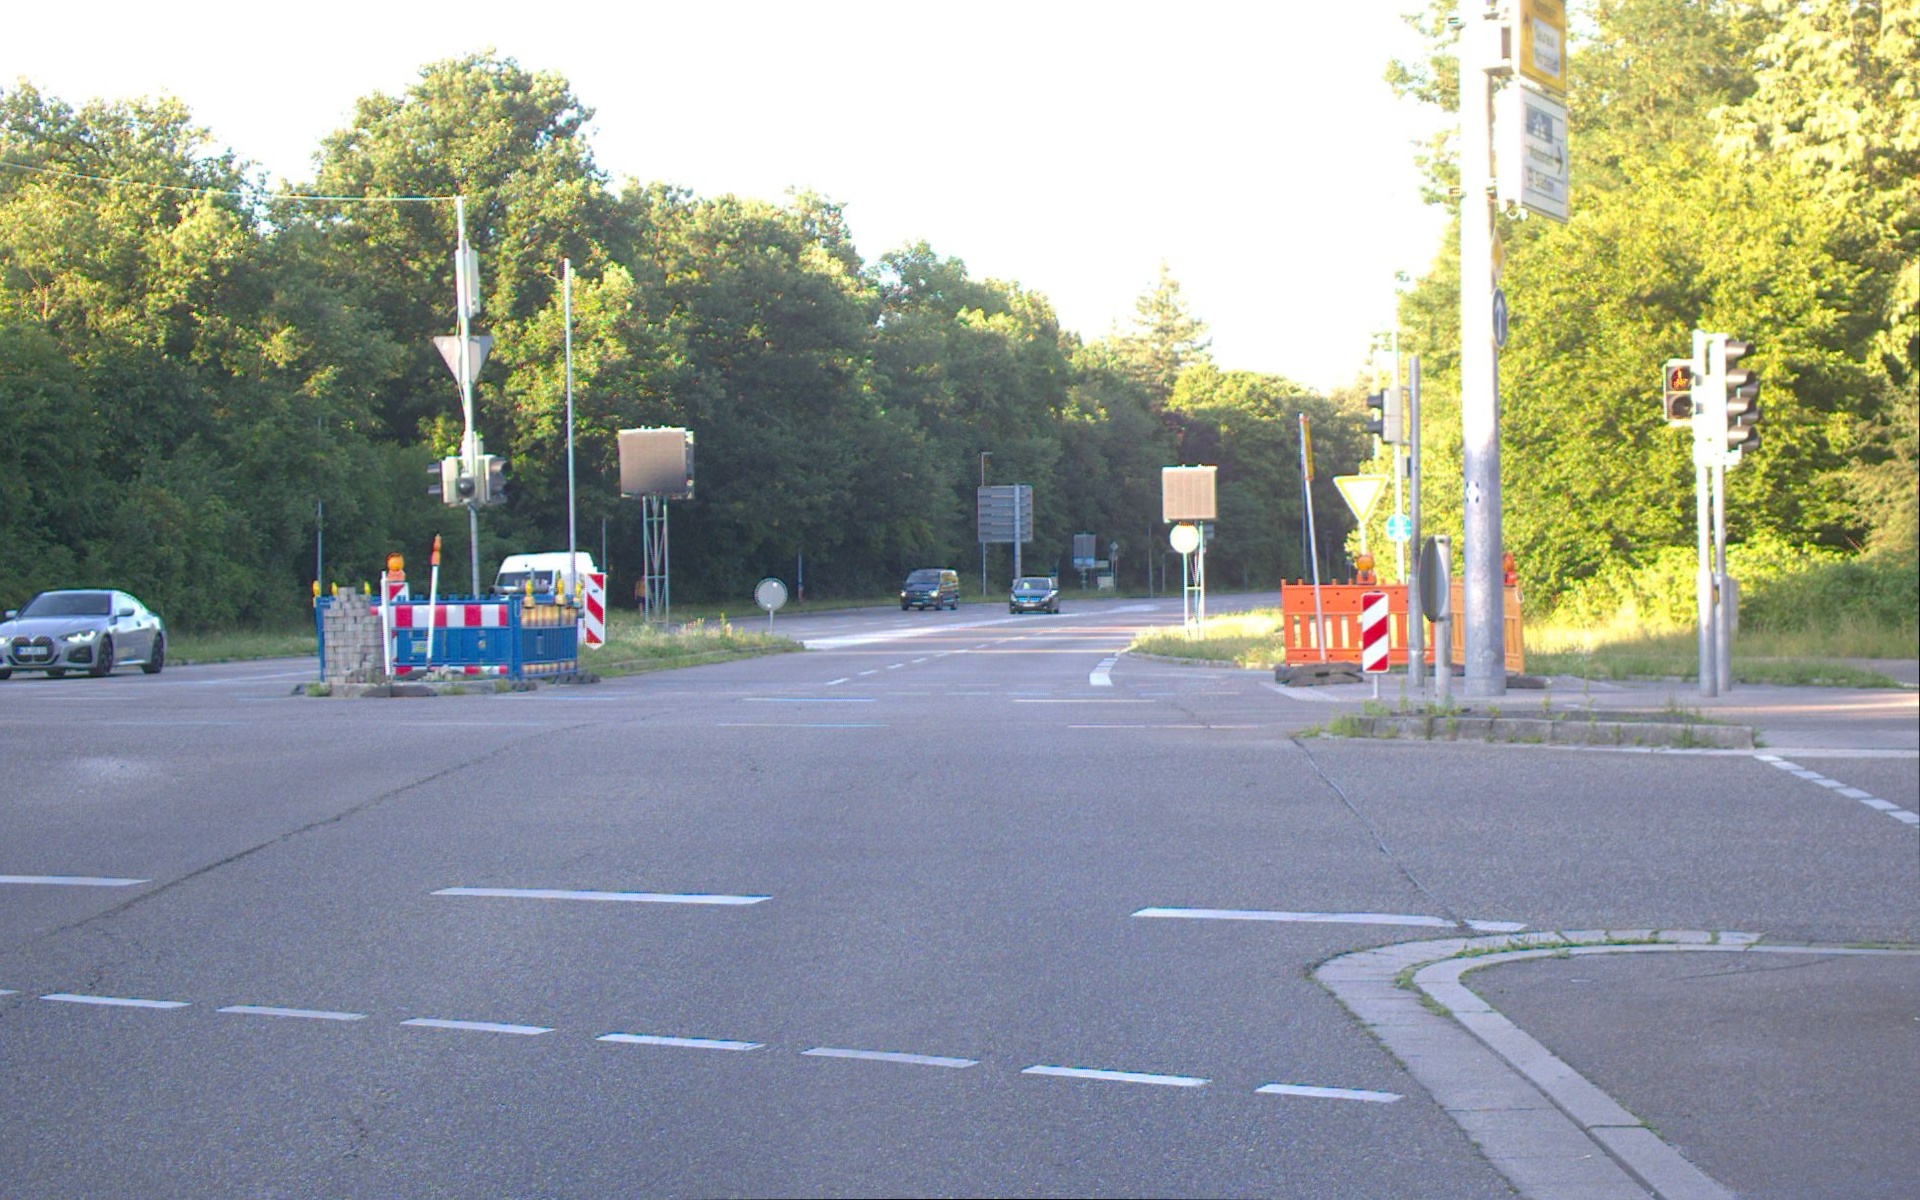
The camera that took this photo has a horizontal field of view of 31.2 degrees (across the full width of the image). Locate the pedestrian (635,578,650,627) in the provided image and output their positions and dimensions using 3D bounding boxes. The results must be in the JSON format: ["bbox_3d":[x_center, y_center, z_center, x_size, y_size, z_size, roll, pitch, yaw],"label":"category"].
[{"bbox_3d":[-13.077,0.086,141.407,0.521,2.007,0.600,1,0,-1],"label":"pedestrian"}]

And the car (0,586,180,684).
[{"bbox_3d":[-14.033,0.531,54.762,1.891,1.436,4.500,-1,1,4],"label":"car"}]

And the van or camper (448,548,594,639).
[{"bbox_3d":[-13.229,-0.245,104.228,2.886,2.643,7.121,0,1,5],"label":"van or camper"}]

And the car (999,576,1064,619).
[{"bbox_3d":[3.028,-0.122,144.880,1.994,1.634,3.998,-2,2,12],"label":"car"}]

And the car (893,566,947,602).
[{"bbox_3d":[-1.887,-0.760,163.583,1.994,1.634,3.999,0,1,8],"label":"car"}]
